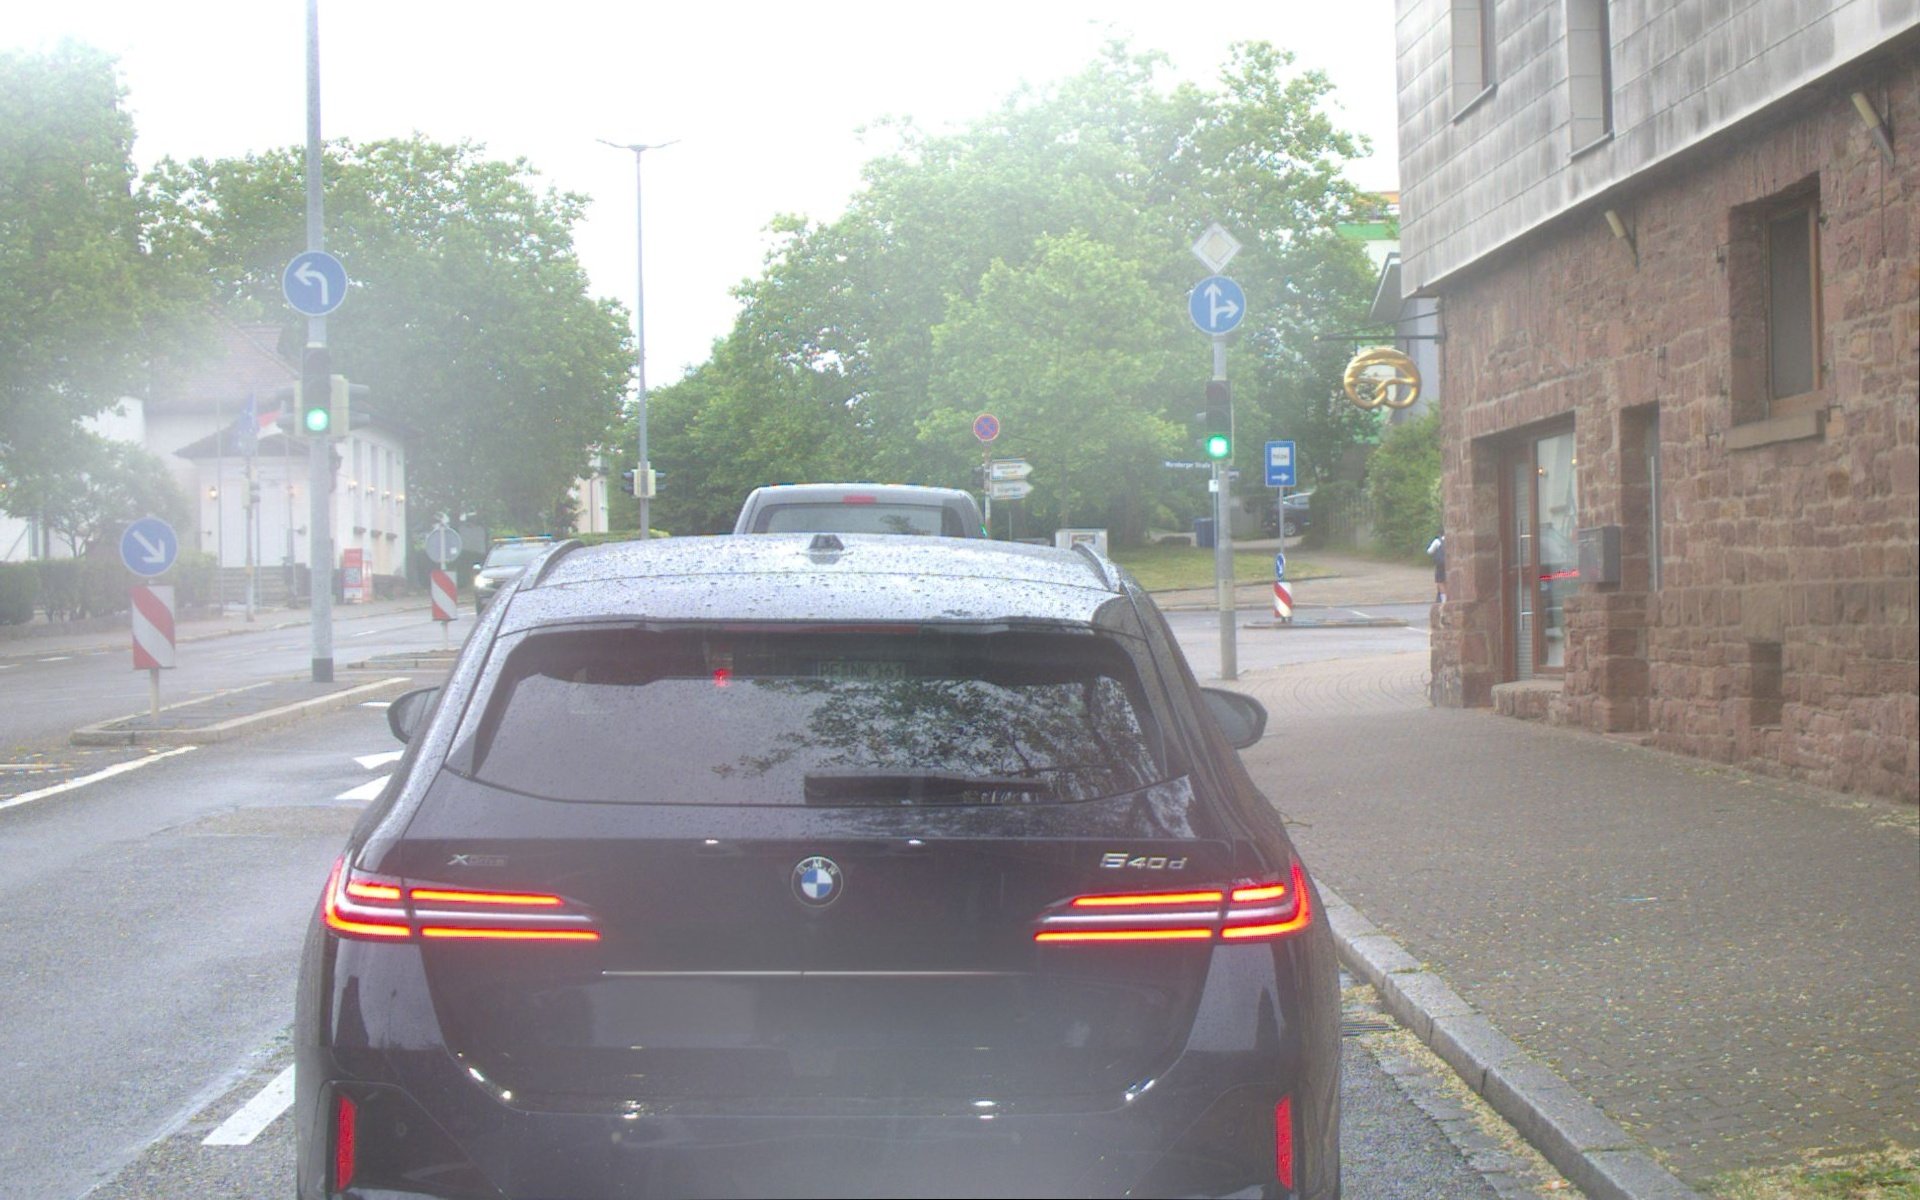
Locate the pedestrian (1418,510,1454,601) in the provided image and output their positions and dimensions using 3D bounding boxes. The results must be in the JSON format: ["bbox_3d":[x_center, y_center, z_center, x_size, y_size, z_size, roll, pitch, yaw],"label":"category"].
[{"bbox_3d":[8.513,-0.791,61.505,0.601,1.611,0.525,1,0,6],"label":"pedestrian"}]

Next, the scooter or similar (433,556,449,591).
[{"bbox_3d":[-15.844,-0.821,104.965,0.389,1.061,1.411,1,0,-5],"label":"scooter or similar"}]

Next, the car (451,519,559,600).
[{"bbox_3d":[-9.474,-0.882,71.820,1.898,1.572,4.503,-1,2,-4],"label":"car"}]

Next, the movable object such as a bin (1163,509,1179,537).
[{"bbox_3d":[7.082,-2.577,115.287,0.450,0.902,0.462,1,0,15],"label":"movable object such as a bin"}]

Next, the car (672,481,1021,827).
[{"bbox_3d":[-0.711,0.267,19.986,1.812,1.802,3.757,1,0,-4],"label":"car"}]

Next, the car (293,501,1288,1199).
[{"bbox_3d":[-0.368,0.604,7.079,1.523,1.529,3.532,1,0,-4],"label":"car"}]
